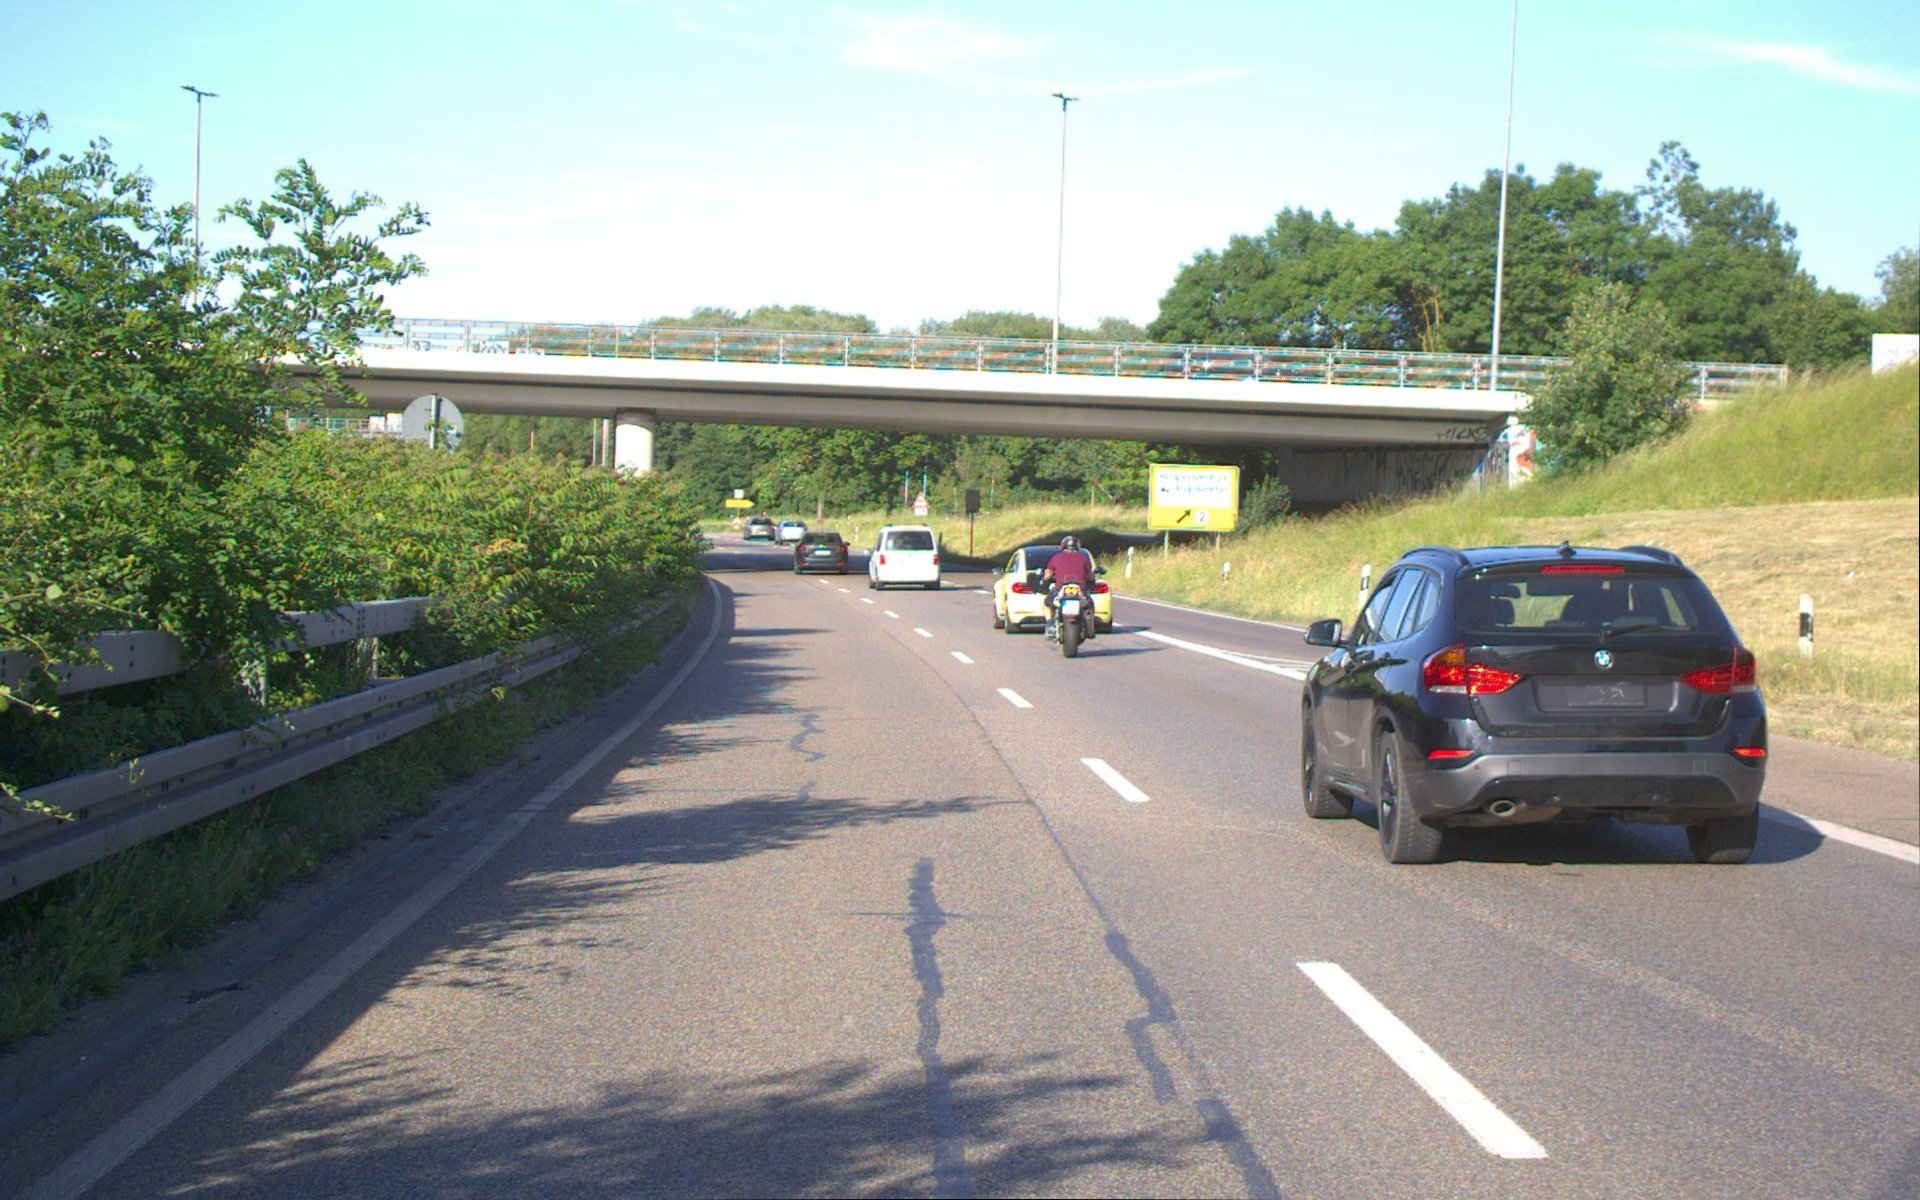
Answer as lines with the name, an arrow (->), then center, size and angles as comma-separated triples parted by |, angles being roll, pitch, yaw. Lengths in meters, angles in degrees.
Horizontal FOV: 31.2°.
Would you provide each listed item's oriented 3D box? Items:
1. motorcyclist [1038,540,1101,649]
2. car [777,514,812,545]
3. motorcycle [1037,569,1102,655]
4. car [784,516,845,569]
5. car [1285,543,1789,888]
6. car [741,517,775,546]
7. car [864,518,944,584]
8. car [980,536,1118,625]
motorcyclist -> 1.481, -0.088, 46.715 | 0.816, 1.442, 1.094 | 1, 1, 1
car -> -9.347, -3.968, 193.538 | 1.868, 1.679, 4.001 | 2, 1, -3
motorcycle -> 1.474, 0.145, 46.717 | 0.816, 1.066, 2.836 | 1, 1, 1
car -> -4.934, -1.961, 116.484 | 1.897, 1.761, 4.001 | 0, 2, -5
car -> 2.839, 0.489, 17.908 | 1.699, 1.501, 4.580 | 1, 2, -2
car -> -12.398, -4.194, 211.228 | 1.868, 1.679, 4.001 | 2, 1, -6
car -> -1.583, -1.370, 95.316 | 1.897, 1.761, 4.001 | -1, 1, -6
car -> 1.491, -0.360, 59.106 | 1.897, 1.466, 4.001 | 0, 1, -5
